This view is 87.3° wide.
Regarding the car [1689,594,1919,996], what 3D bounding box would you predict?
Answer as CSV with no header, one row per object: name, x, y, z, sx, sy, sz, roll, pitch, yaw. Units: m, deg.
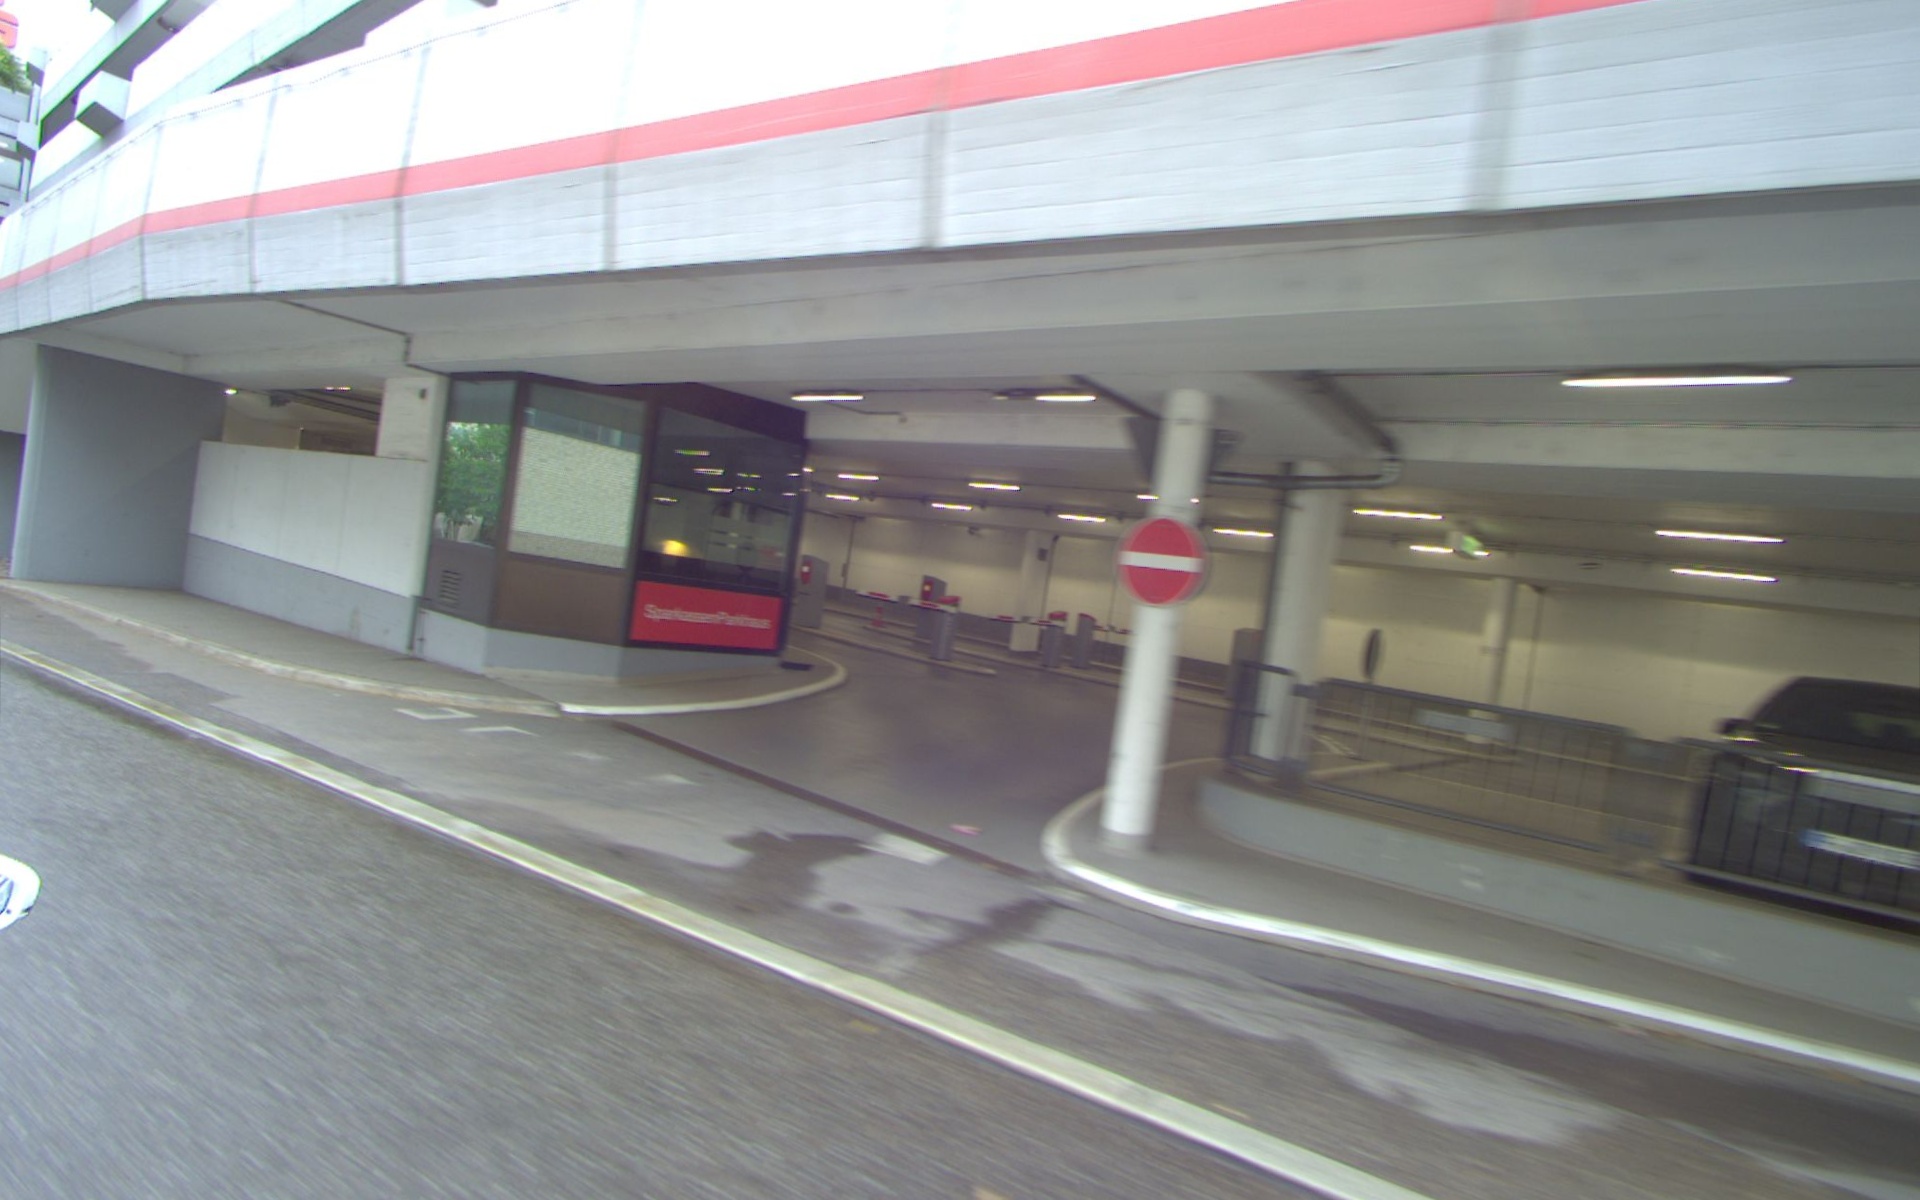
car,5.673,1.141,5.978,1.796,1.658,4.576,6,-3,39
